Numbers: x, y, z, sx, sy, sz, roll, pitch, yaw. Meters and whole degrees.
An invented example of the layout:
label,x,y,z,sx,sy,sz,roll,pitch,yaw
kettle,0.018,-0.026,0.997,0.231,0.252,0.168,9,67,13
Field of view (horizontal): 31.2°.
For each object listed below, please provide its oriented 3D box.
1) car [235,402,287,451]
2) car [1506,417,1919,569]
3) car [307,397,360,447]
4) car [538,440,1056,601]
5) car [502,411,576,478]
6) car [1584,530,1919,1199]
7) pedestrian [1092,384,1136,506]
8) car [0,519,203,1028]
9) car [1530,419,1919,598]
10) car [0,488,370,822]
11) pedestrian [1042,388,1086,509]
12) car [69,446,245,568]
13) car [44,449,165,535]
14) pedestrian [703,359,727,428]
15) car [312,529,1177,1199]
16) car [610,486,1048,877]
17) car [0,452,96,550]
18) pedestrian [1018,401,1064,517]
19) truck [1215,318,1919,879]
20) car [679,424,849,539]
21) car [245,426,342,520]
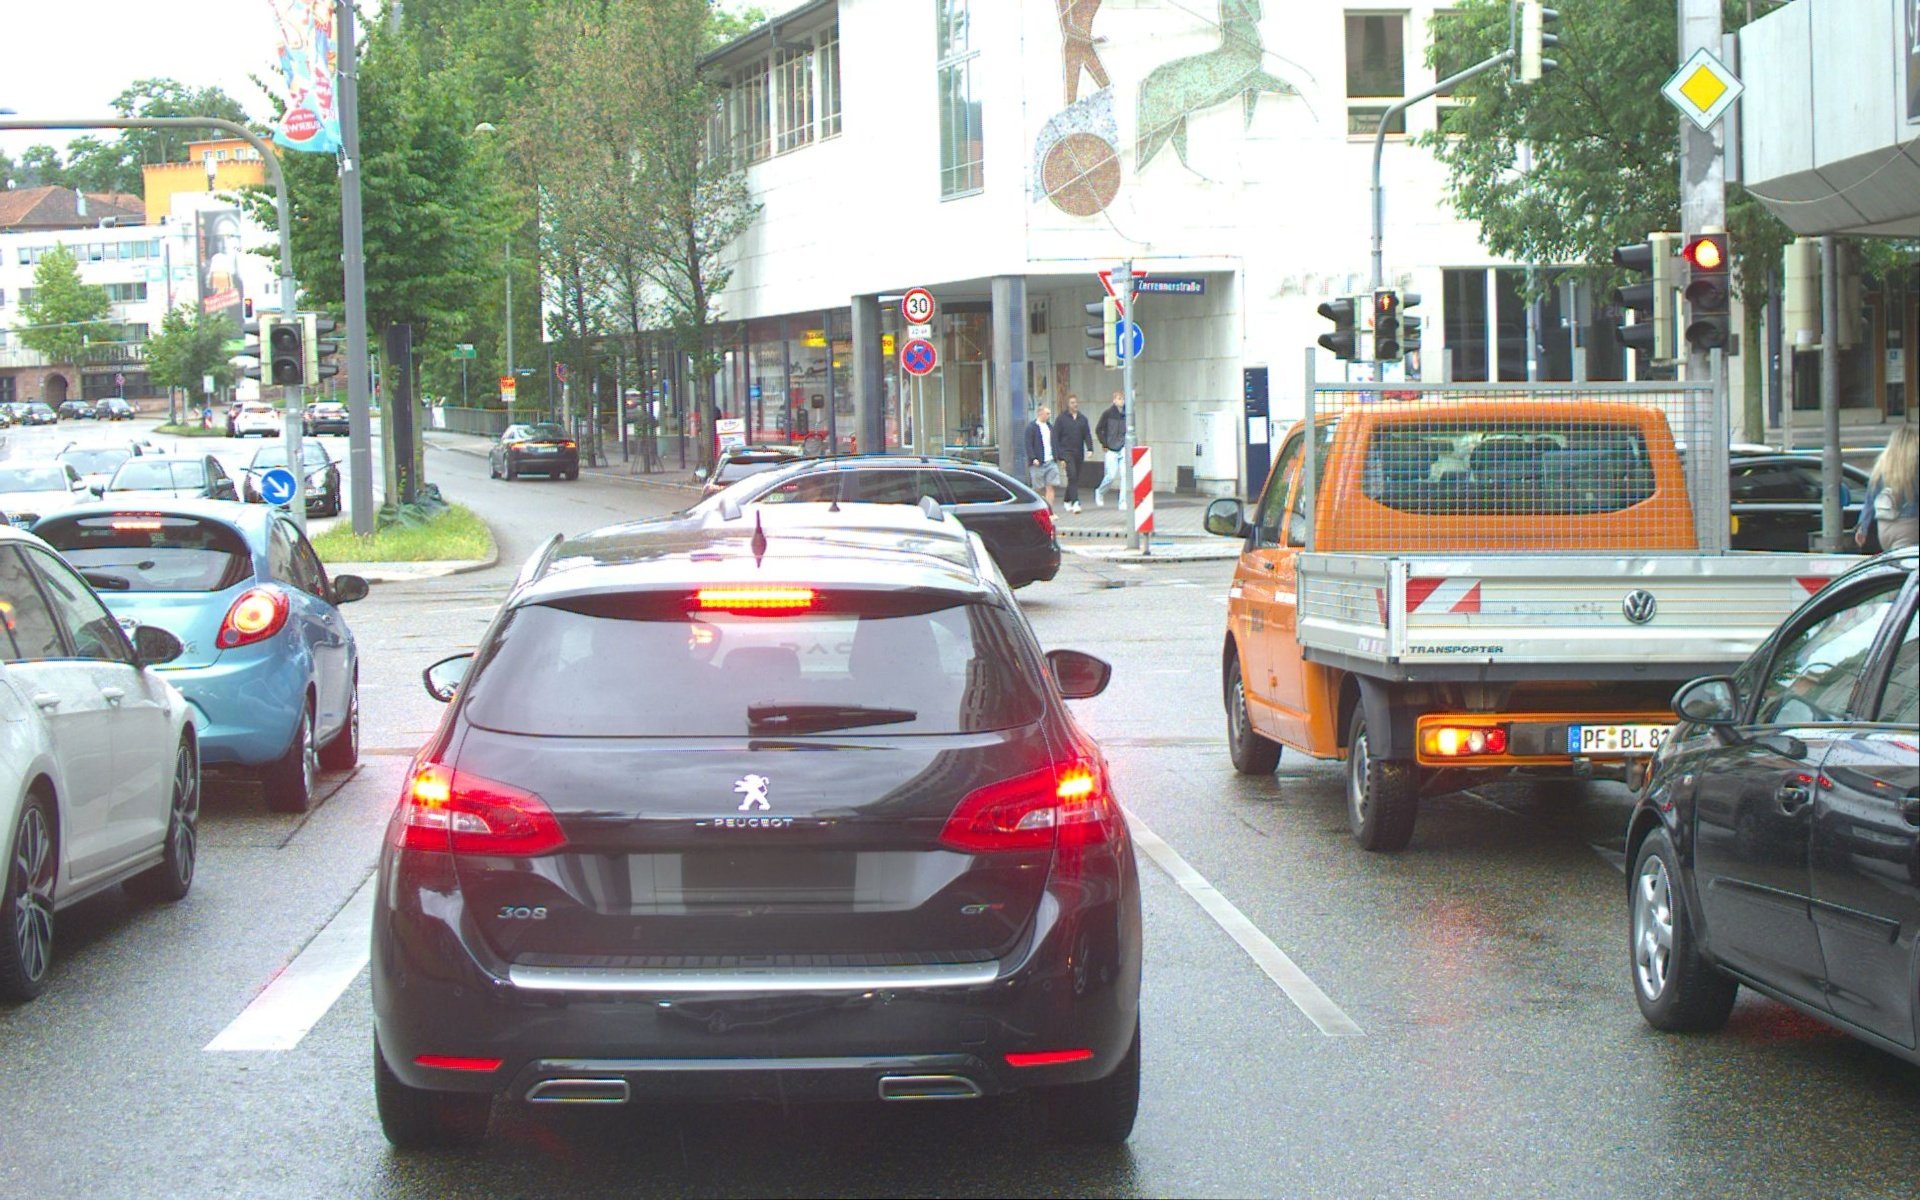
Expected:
label,x,y,z,sx,sy,sz,roll,pitch,yaw
car,-29.687,-7.345,145.962,1.705,1.875,4.001,1,0,-18
car,7.833,-1.090,35.802,3.894,1.481,1.624,1,0,-12
car,-26.843,-7.603,147.219,1.705,1.929,4.001,1,0,-18
car,-1.580,-0.764,32.991,4.721,1.481,1.639,0,2,-15
car,-10.885,-3.985,88.683,1.724,1.485,4.734,1,0,-9
car,2.840,0.565,8.650,1.616,1.424,3.843,0,2,-3
pedestrian,2.429,-2.440,54.290,0.637,1.891,0.733,0,0,6
car,-3.738,0.458,11.481,1.777,1.424,3.843,0,2,-3
car,7.693,-0.880,32.383,4.226,1.559,1.705,-2,2,-11
car,-3.962,0.195,17.422,1.632,1.481,3.610,0,2,-5
pedestrian,1.656,-2.405,54.612,0.637,1.891,0.733,0,0,6
car,-11.141,-1.257,47.910,1.744,1.574,4.000,1,0,-4
car,-15.215,-1.943,61.257,1.632,1.481,3.611,0,2,-7
pedestrian,-6.344,-5.353,89.149,0.468,1.742,0.541,1,0,-21
car,-0.534,0.555,9.027,1.777,1.424,3.843,0,2,-3
car,-0.540,0.258,15.318,1.696,1.481,3.794,1,2,-1
car,-14.672,-1.578,54.078,1.632,1.481,3.611,0,2,-7
pedestrian,1.257,-2.175,53.080,0.637,1.752,0.733,0,0,6
truck,2.576,-0.102,15.873,2.177,2.165,5.021,1,2,-3
car,-2.830,-1.771,50.491,1.787,1.449,4.507,-2,4,5
car,-12.680,-2.383,65.411,1.744,1.634,4.001,1,0,-11
